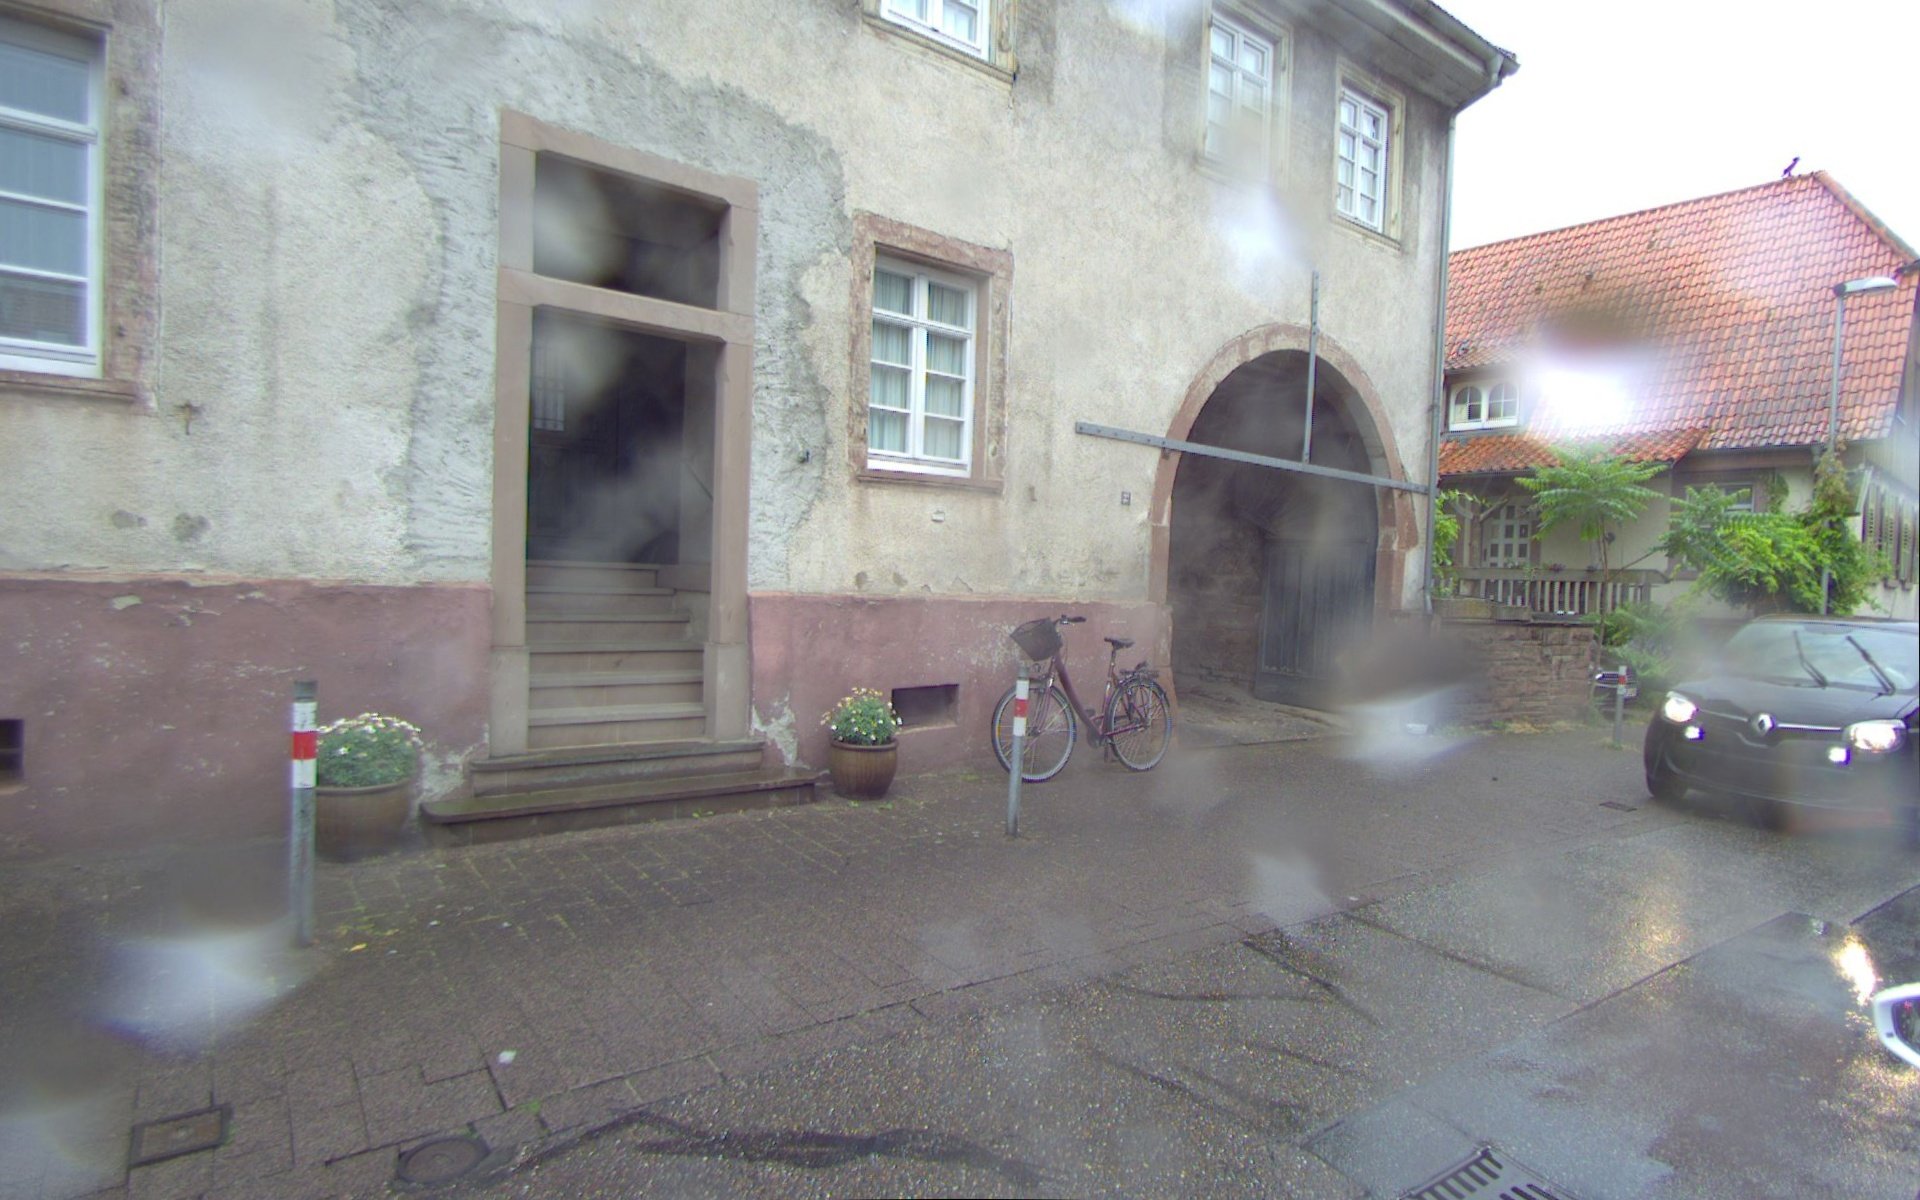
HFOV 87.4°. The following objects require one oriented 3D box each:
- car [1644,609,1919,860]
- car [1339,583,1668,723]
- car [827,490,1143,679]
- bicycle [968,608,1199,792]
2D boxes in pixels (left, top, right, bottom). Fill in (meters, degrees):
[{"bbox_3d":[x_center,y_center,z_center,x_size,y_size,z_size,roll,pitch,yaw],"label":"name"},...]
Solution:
[{"bbox_3d":[7.160,0.905,8.116,3.654,1.533,1.592,2,1,-38],"label":"car"},{"bbox_3d":[7.984,0.695,15.159,1.715,1.444,3.967,2,5,-30],"label":"car"},{"bbox_3d":[0.155,-0.311,13.523,1.869,1.957,4.194,6,3,-37],"label":"car"},{"bbox_3d":[0.956,0.683,7.449,1.858,1.194,0.478,1,4,-38],"label":"bicycle"}]
